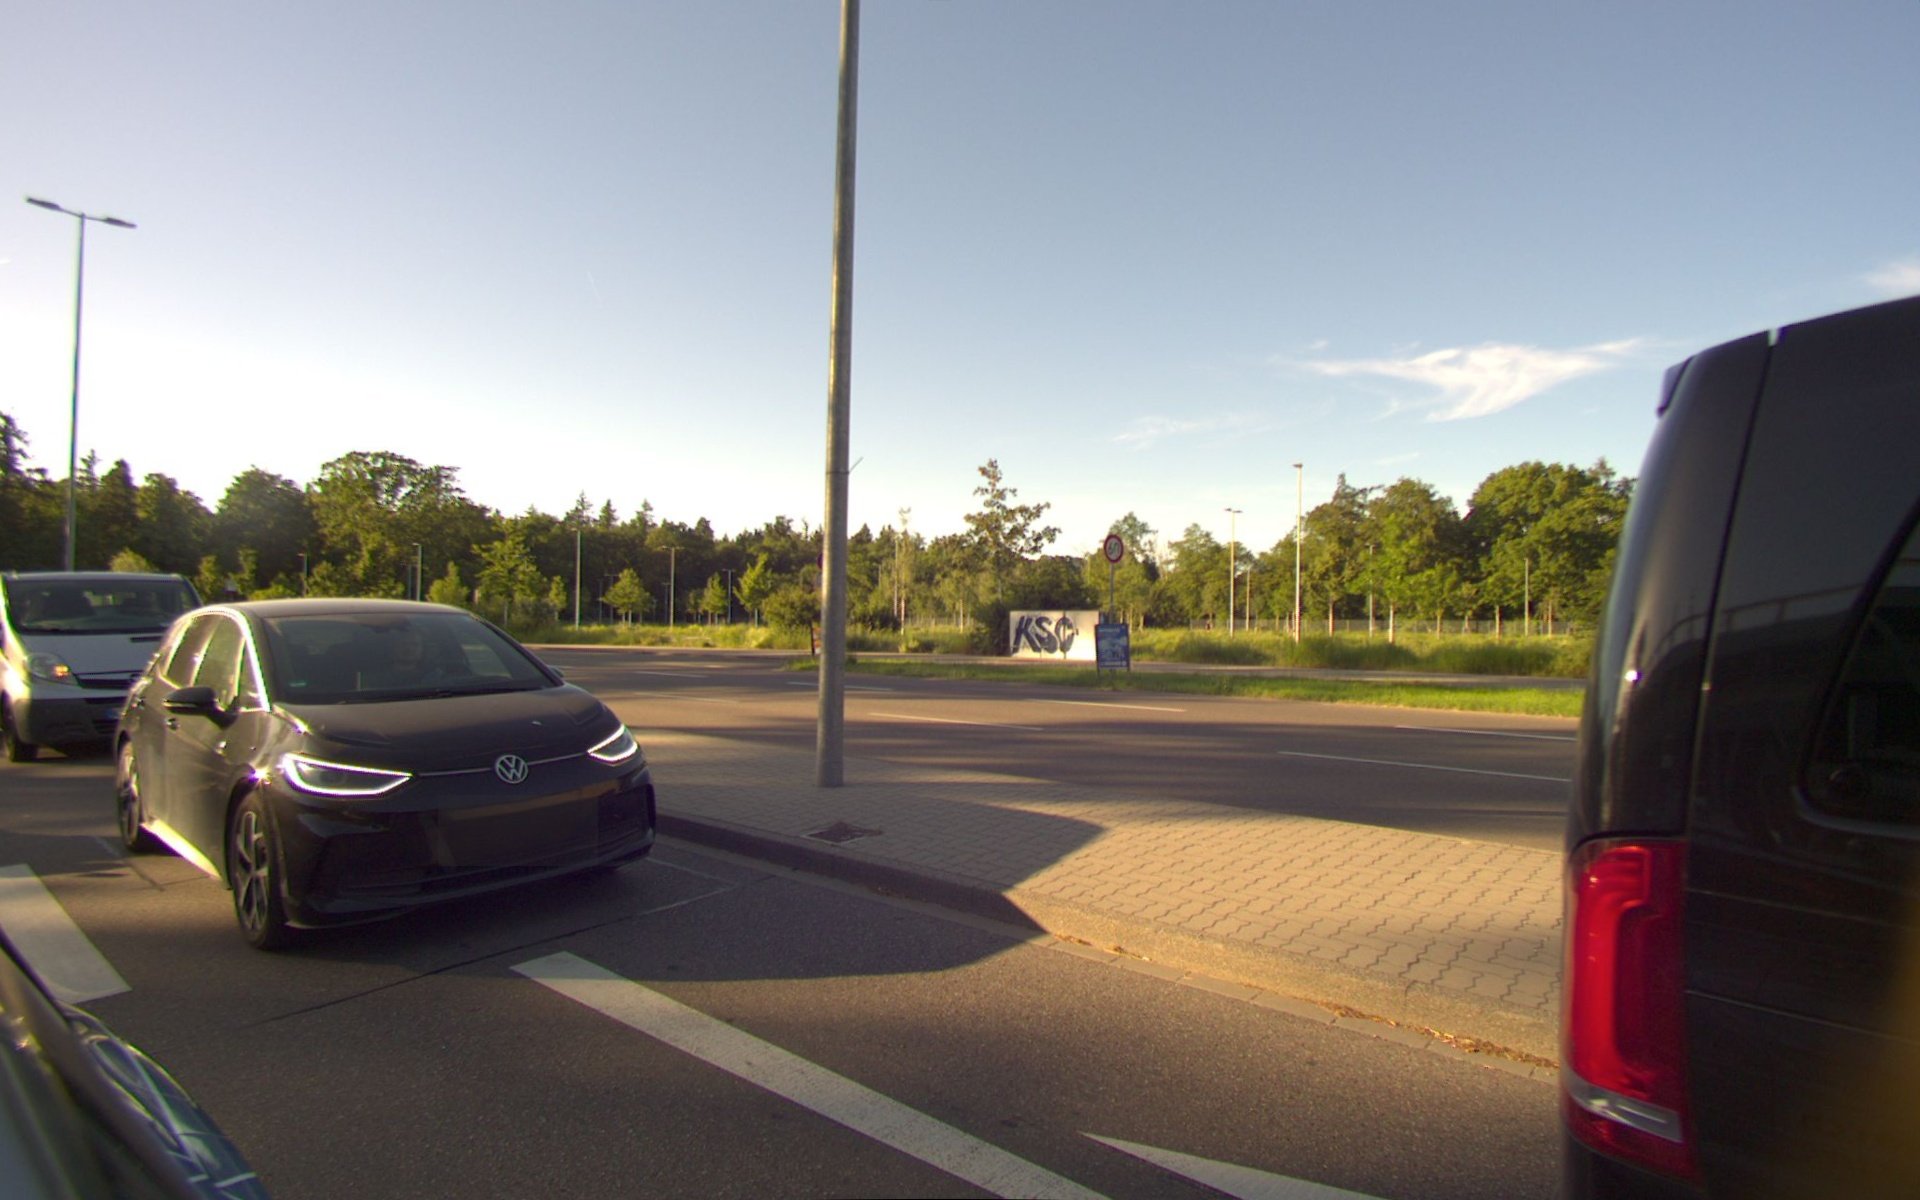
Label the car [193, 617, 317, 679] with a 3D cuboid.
[{"bbox_3d":[-17.776,1.152,25.450,3.840,1.406,1.584,0,0,39],"label":"car"}]

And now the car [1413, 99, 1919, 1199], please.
[{"bbox_3d":[3.011,0.397,0.304,4.871,1.870,1.887,-3,-1,41],"label":"car"}]

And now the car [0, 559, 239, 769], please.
[{"bbox_3d":[-10.340,0.642,11.860,5.044,1.977,1.859,-2,0,40],"label":"car"}]

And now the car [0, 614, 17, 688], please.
[{"bbox_3d":[-22.489,1.133,22.333,5.044,1.535,1.859,-2,0,40],"label":"car"}]

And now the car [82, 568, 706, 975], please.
[{"bbox_3d":[-3.453,0.654,5.860,3.997,1.548,1.859,0,0,40],"label":"car"}]
